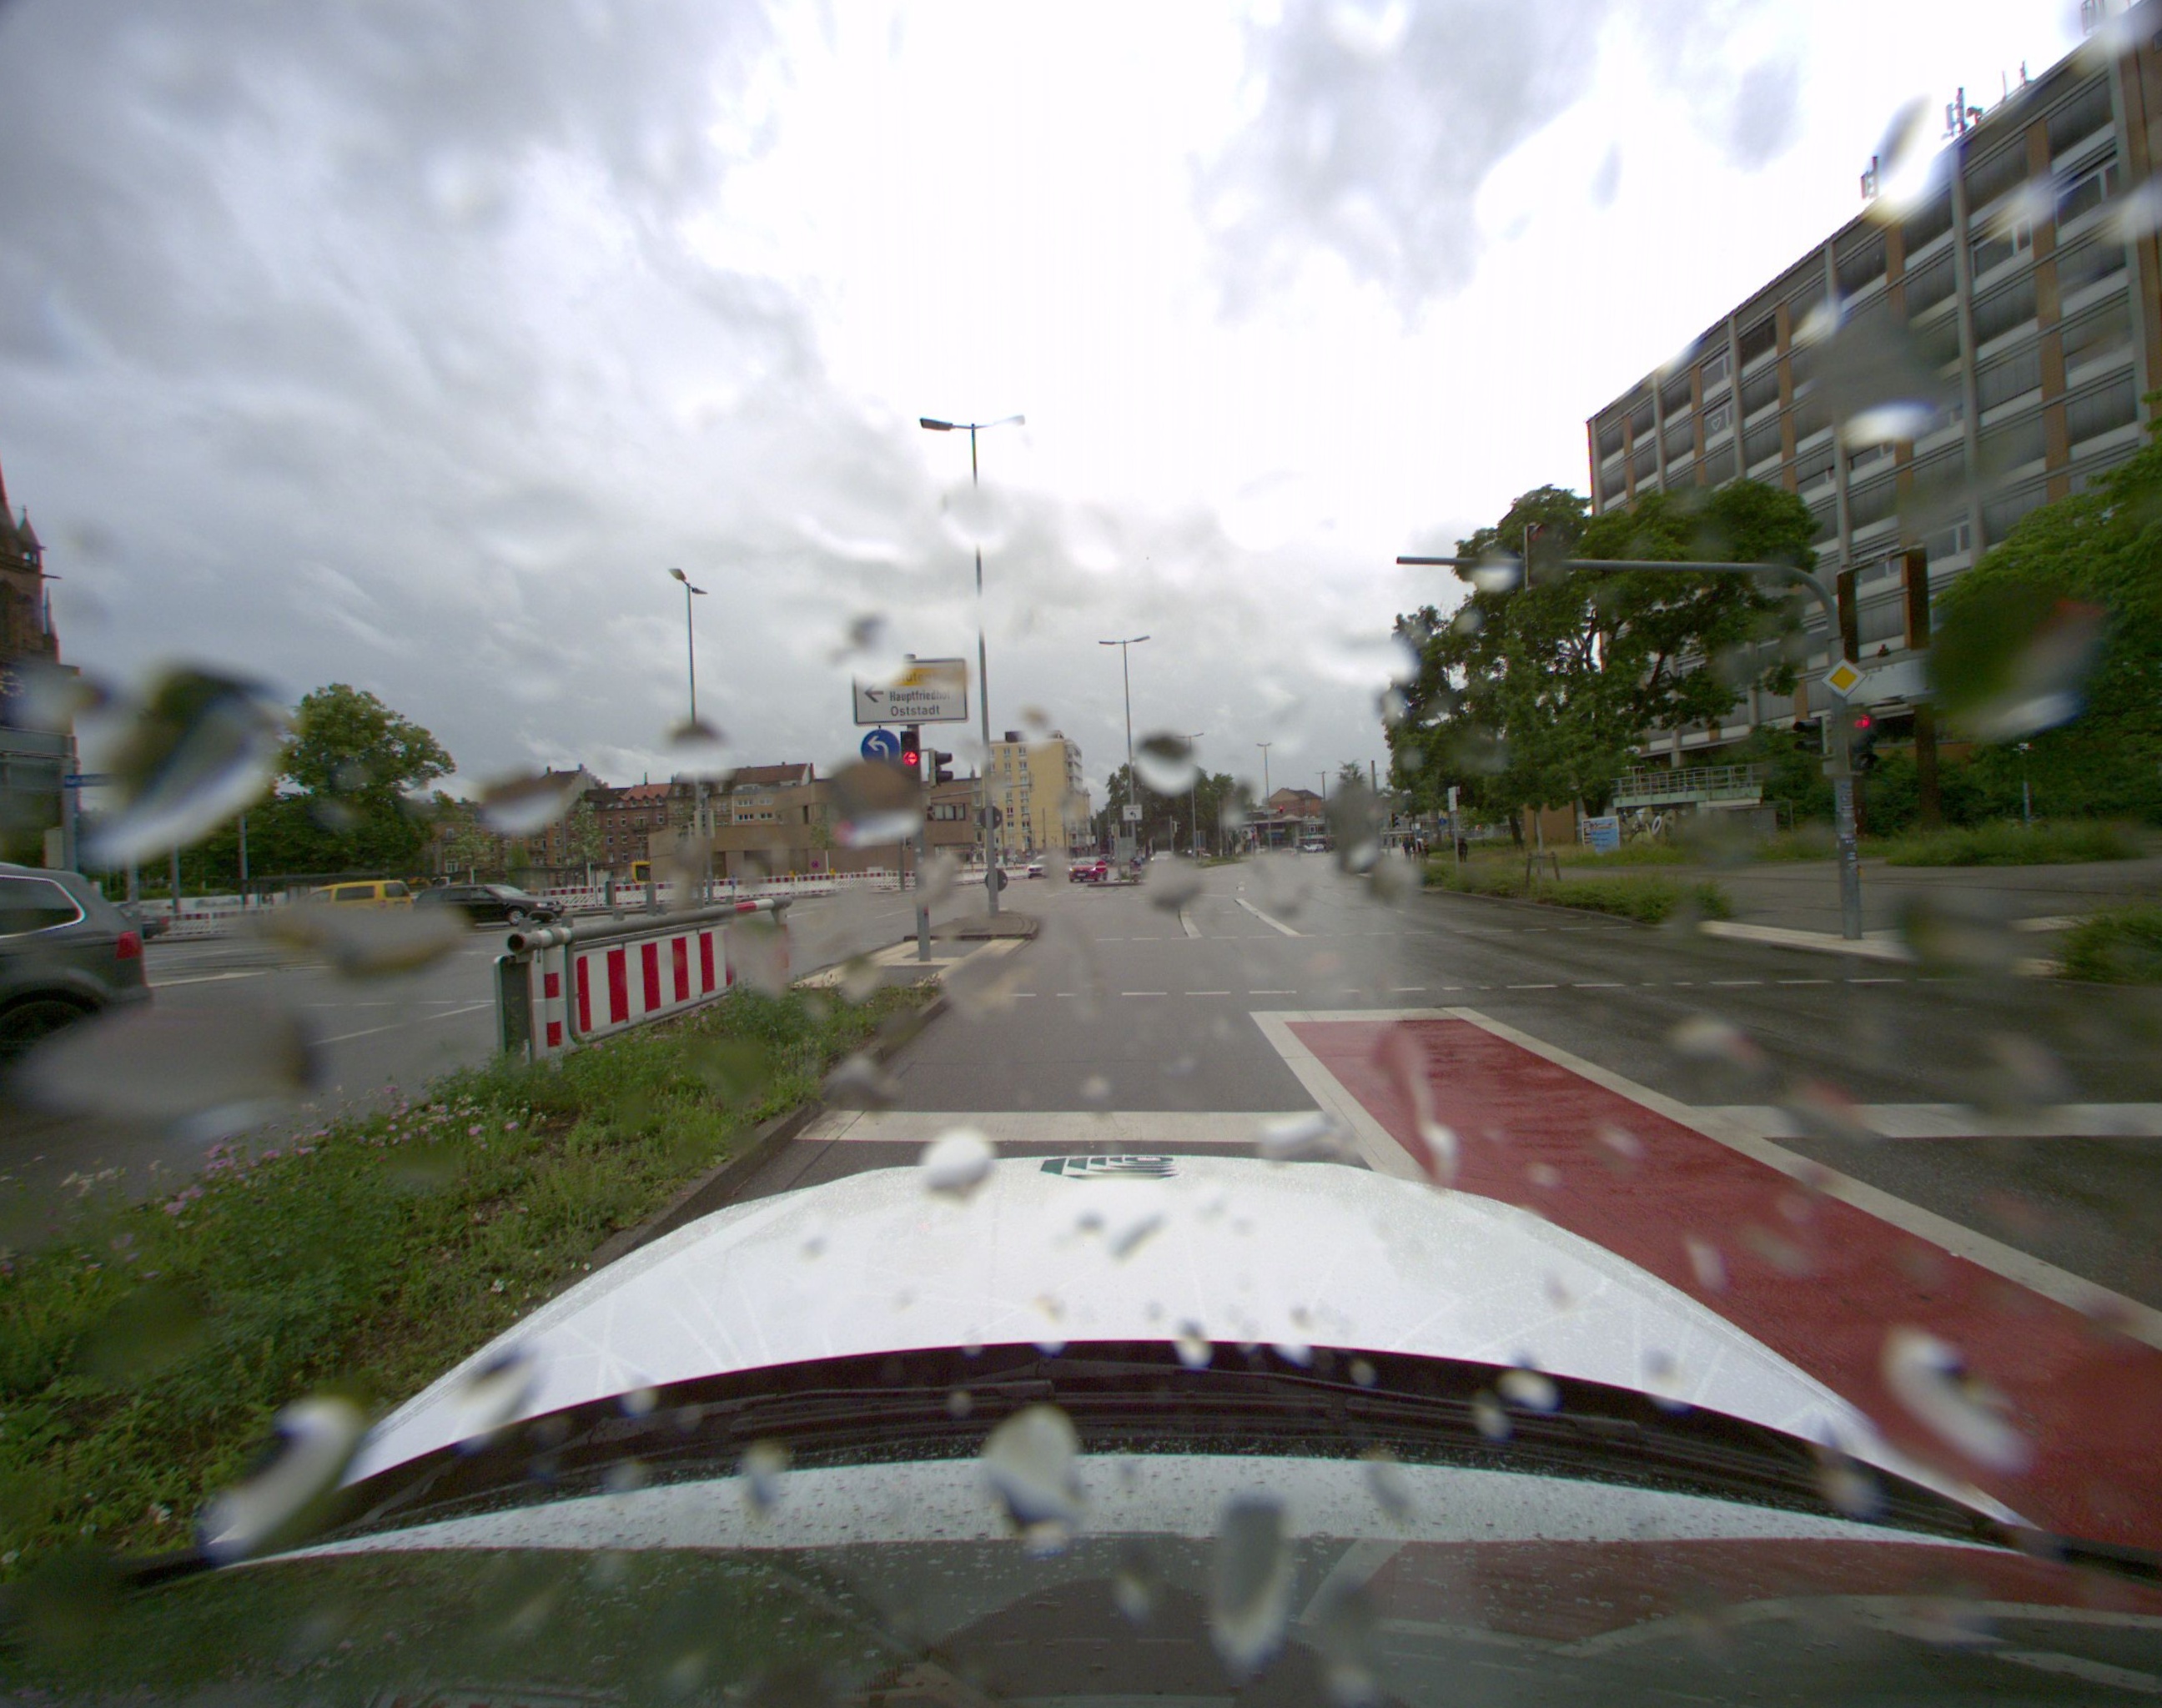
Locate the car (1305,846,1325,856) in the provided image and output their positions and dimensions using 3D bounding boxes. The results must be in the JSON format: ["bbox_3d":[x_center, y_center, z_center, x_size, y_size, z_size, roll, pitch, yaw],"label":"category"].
[{"bbox_3d":[42.595,-0.620,147.910,1.773,1.643,4.185,-3,0,42],"label":"car"}]

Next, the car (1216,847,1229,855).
[{"bbox_3d":[32.930,-0.686,189.455,1.773,1.643,4.184,-3,0,25],"label":"car"}]

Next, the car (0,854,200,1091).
[{"bbox_3d":[-8.622,0.888,4.673,1.765,1.678,4.771,-3,0,2],"label":"car"}]

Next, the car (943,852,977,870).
[{"bbox_3d":[-21.122,1.230,142.814,5.326,2.887,2.342,-3,0,4],"label":"car"}]

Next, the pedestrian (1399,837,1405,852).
[{"bbox_3d":[36.701,-1.092,93.166,0.583,1.630,0.623,-3,0,17],"label":"pedestrian"}]

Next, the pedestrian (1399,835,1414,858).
[{"bbox_3d":[23.808,-0.557,59.585,0.749,1.588,0.939,-3,0,12],"label":"pedestrian"}]

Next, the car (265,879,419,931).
[{"bbox_3d":[-28.729,1.939,31.766,4.134,1.706,1.707,-3,0,-6],"label":"car"}]

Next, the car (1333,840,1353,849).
[{"bbox_3d":[48.774,-1.769,151.463,4.184,1.643,1.773,-3,0,-44],"label":"car"}]

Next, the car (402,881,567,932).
[{"bbox_3d":[-19.987,1.742,27.418,4.185,1.402,1.615,-3,0,-5],"label":"car"}]

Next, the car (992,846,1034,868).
[{"bbox_3d":[-11.832,0.457,141.963,6.711,3.380,2.813,-3,0,4],"label":"car"}]

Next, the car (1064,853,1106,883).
[{"bbox_3d":[0.312,0.817,49.662,1.779,1.643,4.058,-3,0,10],"label":"car"}]

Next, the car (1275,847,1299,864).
[{"bbox_3d":[21.933,0.099,86.473,1.774,1.643,4.183,-3,0,23],"label":"car"}]

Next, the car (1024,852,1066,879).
[{"bbox_3d":[-2.698,0.828,62.087,1.776,1.858,4.178,-3,0,17],"label":"car"}]

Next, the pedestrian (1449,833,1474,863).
[{"bbox_3d":[20.912,-0.351,44.773,1.015,1.588,0.939,-3,0,12],"label":"pedestrian"}]

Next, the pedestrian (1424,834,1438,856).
[{"bbox_3d":[25.187,-0.651,58.607,0.698,1.588,0.939,-3,0,12],"label":"pedestrian"}]

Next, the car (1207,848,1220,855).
[{"bbox_3d":[30.900,-0.584,190.330,1.773,1.643,4.184,-3,0,25],"label":"car"}]

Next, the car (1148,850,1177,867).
[{"bbox_3d":[8.777,0.460,87.395,1.774,1.643,4.183,-3,0,23],"label":"car"}]

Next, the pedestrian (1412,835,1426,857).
[{"bbox_3d":[24.511,-0.594,59.032,0.698,1.588,0.939,-3,0,12],"label":"pedestrian"}]

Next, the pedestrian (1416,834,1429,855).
[{"bbox_3d":[26.553,-0.721,63.289,0.698,1.588,0.939,-3,0,12],"label":"pedestrian"}]

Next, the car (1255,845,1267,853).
[{"bbox_3d":[41.057,-1.115,185.785,1.773,1.643,4.184,-3,0,25],"label":"car"}]
